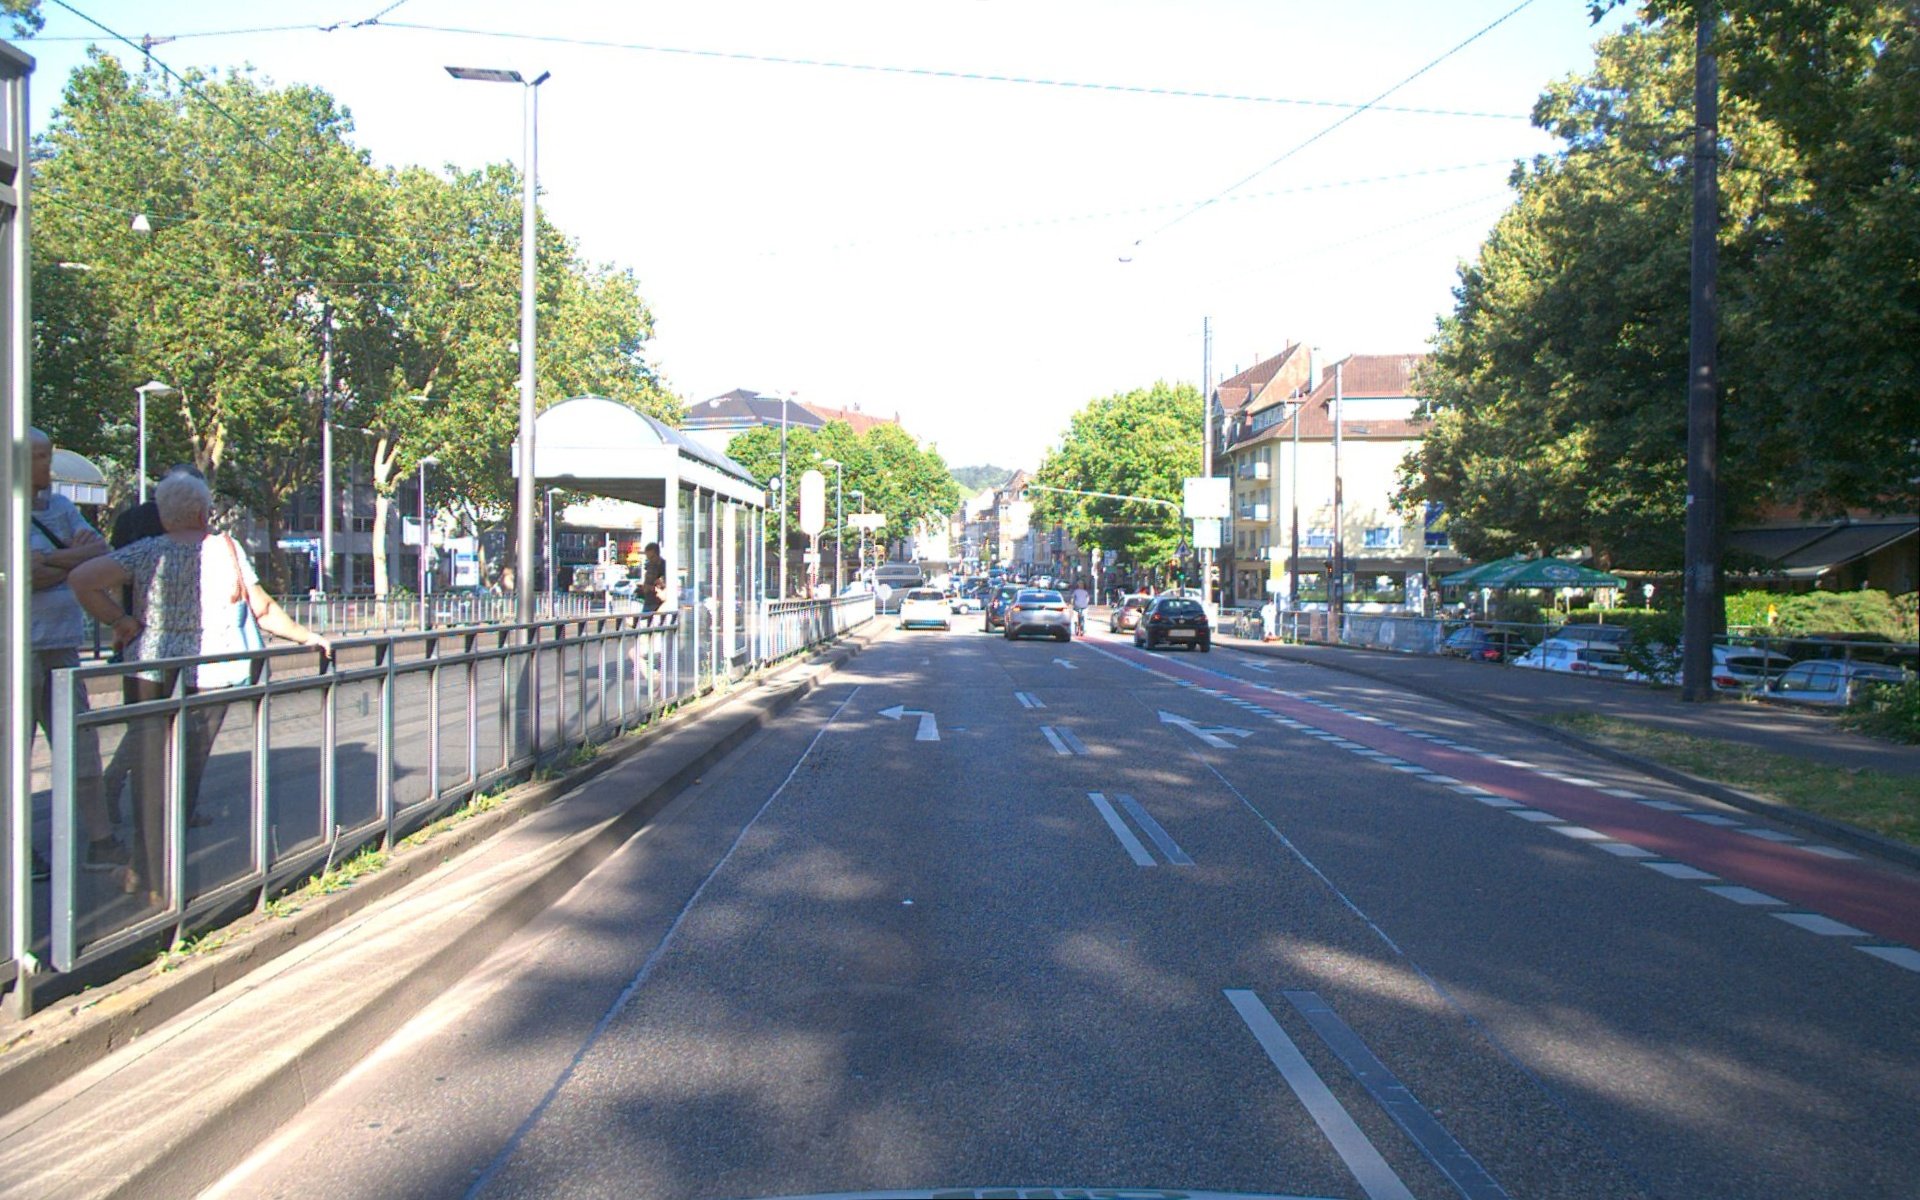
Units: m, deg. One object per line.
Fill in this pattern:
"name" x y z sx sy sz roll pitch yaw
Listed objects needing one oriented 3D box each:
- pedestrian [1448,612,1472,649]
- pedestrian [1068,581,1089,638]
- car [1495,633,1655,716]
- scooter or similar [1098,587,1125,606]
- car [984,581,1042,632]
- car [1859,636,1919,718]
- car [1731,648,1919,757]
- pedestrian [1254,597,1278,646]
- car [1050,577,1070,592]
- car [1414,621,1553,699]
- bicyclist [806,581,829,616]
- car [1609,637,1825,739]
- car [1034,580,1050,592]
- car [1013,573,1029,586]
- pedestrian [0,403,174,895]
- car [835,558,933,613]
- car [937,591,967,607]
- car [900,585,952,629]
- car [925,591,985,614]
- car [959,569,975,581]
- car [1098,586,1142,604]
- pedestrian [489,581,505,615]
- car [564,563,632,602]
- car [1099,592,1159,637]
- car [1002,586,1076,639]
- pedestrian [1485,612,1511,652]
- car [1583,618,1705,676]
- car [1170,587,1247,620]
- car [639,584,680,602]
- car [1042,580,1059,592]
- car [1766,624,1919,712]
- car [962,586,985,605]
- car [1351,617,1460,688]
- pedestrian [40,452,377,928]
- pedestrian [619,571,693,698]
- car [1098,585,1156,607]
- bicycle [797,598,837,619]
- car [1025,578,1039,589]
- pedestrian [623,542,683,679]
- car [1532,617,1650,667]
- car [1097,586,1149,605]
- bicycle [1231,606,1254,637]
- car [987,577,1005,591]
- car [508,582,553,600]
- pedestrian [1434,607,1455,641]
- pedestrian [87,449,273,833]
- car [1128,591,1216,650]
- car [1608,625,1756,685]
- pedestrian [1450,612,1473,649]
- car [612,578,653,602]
"pedestrian" 18.891 1.147 62.514 0.635 1.361 0.632 3 0 -1
"pedestrian" 3.962 0.324 55.413 0.643 1.903 0.677 0 0 -1
"car" 13.371 1.575 36.250 1.758 1.606 4.441 2 0 -1
"scooter or similar" 10.550 -0.253 115.487 1.915 1.303 0.550 1 0 41
"car" 1.794 0.211 57.370 1.764 1.666 4.044 1 0 -2
"car" 20.859 1.560 34.709 3.947 1.540 1.781 -1 1 -31
"car" 13.802 1.551 25.793 1.758 1.467 3.575 2 0 -3
"pedestrian" 10.343 0.723 55.917 0.634 1.590 0.632 3 0 18
"car" 12.299 -1.857 204.008 2.062 1.807 4.340 0 0 -1
"car" 13.372 1.505 42.499 1.760 1.834 4.204 2 0 -8
"bicyclist" -5.891 -0.071 68.325 0.784 1.439 0.527 1 0 23
"car" 13.700 1.537 30.249 1.758 1.606 4.552 2 0 -1
"car" 10.722 -1.844 216.666 1.758 1.536 3.999 0 0 -1
"car" 9.585 -3.215 260.903 2.280 2.049 4.975 0 0 -1
"pedestrian" -3.729 0.178 6.705 0.637 1.873 0.711 2 0 9
"car" -4.063 -0.746 88.444 4.928 2.791 2.067 1 -1 -13
"car" -0.768 -0.113 160.075 1.756 1.537 4.002 0 0 18
"car" -1.227 0.234 59.068 1.771 1.478 3.999 1 0 -2
"car" -0.297 0.139 89.384 2.853 1.183 2.067 1 -1 -13
"car" 0.861 -3.084 205.068 1.758 1.536 3.998 0 0 -2
"car" 14.174 -0.454 146.241 3.968 1.536 1.772 0 0 -43
"pedestrian" -21.559 -0.111 77.029 0.524 1.579 0.677 0 0 -1
"car" -30.841 -1.479 141.215 2.445 3.220 6.535 1 0 22
"car" 6.309 0.508 62.081 1.758 1.536 4.000 1 1 -1
"car" 2.347 0.349 50.232 1.890 1.498 4.854 1 0 -1
"pedestrian" 18.993 1.118 58.411 0.635 1.361 0.632 3 0 -1
"car" 20.445 1.367 49.384 3.963 1.506 1.774 -2 2 -40
"car" 13.813 0.212 91.866 4.059 1.722 1.823 1 0 14
"car" -25.298 -0.605 139.424 1.756 1.536 4.012 1 0 18
"car" 11.496 -1.775 210.521 1.758 1.536 3.999 0 0 -1
"car" 20.327 1.508 38.006 3.961 1.765 1.775 -2 1 -39
"car" 1.348 -0.486 167.550 1.756 1.858 4.003 1 0 9
"car" 12.954 1.487 48.346 1.758 1.931 4.356 2 0 -3
"pedestrian" -2.878 0.306 6.357 0.787 1.662 0.863 2 0 37
"pedestrian" -3.269 0.368 17.835 0.664 1.331 0.593 1 0 0
"car" 12.271 -0.298 121.418 3.914 1.536 1.796 0 0 -10
"bicycle" -5.896 0.337 68.326 1.578 0.830 0.527 1 0 23
"car" 10.314 -2.356 235.896 1.758 1.549 3.999 0 0 -1
"pedestrian" -3.901 0.135 21.043 0.583 1.707 0.590 1 0 4
"car" 20.015 1.310 52.392 3.960 1.371 1.755 -2 1 -38
"car" 13.002 -0.369 132.008 3.911 1.536 1.797 0 0 -7
"bicycle" 10.360 0.781 60.688 0.488 1.093 1.799 1 -1 -1
"car" 3.933 -1.786 182.211 1.758 1.536 3.998 0 0 -2
"car" -37.561 -0.758 144.551 1.758 1.536 3.999 1 0 22
"pedestrian" 19.986 1.000 68.256 0.635 1.361 0.632 3 0 -1
"pedestrian" -3.789 0.187 8.023 0.646 1.752 0.701 2 0 -37
"car" 5.707 0.517 45.031 1.764 1.464 4.044 2 0 -1
"car" 20.030 1.483 45.851 4.202 1.431 1.940 -1 1 -36
"pedestrian" 19.240 1.164 63.463 0.635 1.361 0.632 3 0 -1
"car" -27.761 -0.844 140.277 1.756 1.990 4.002 1 0 18
